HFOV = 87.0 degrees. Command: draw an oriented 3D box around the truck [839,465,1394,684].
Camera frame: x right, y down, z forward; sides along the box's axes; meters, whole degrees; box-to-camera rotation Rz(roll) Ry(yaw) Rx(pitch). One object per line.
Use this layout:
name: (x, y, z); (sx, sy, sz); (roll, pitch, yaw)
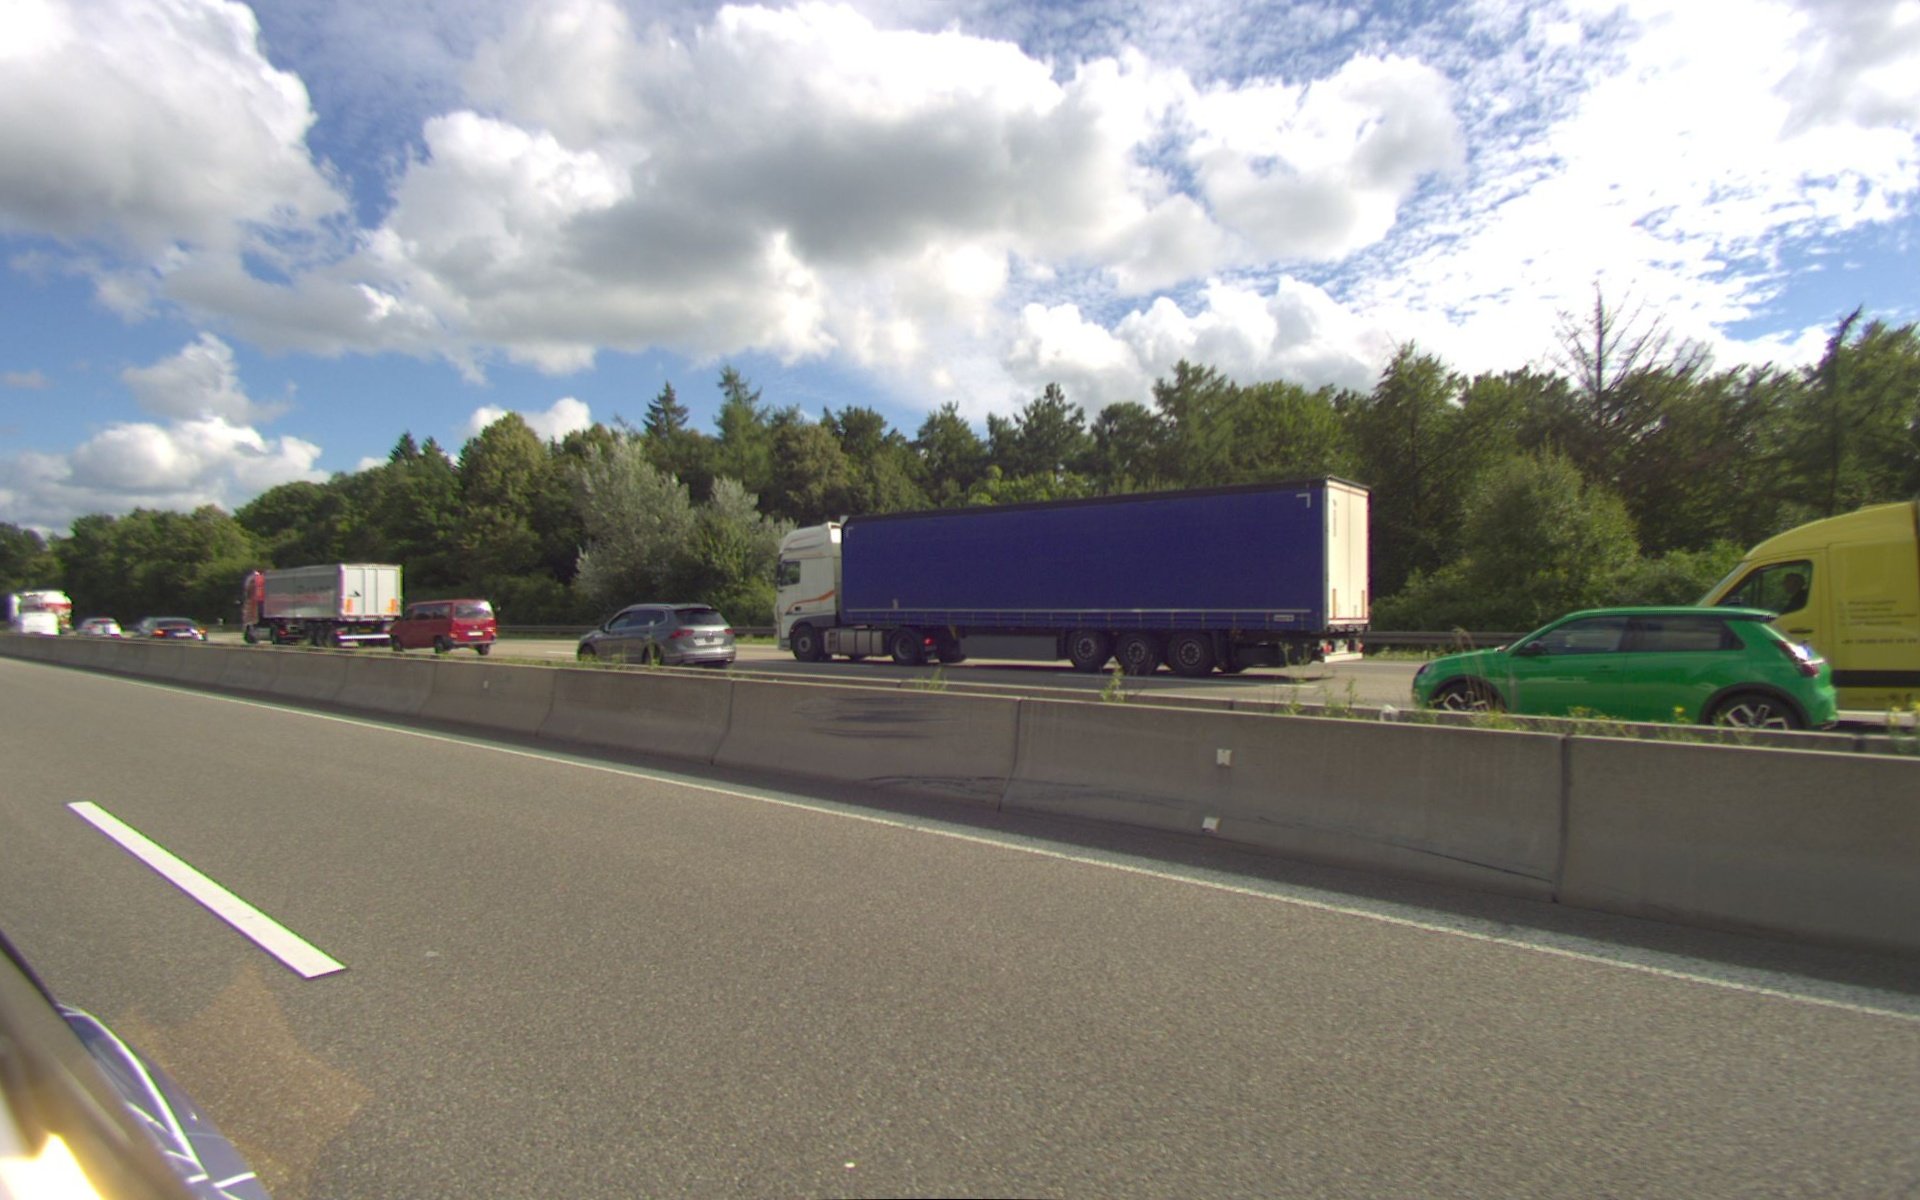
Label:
truck: (2.882, -0.365, 24.598); (13.831, 4.125, 2.791); (-1, -1, 40)

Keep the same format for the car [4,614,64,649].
car: (-51.962, 1.736, 56.757); (4.611, 1.892, 1.831); (-1, -1, 39)

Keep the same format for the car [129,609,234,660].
car: (-30.921, 1.338, 40.131); (5.356, 1.892, 2.150); (-1, -1, 39)

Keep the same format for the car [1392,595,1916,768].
car: (7.147, 0.762, 10.799); (4.329, 1.482, 1.765); (-1, -2, 42)

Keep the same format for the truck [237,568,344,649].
truck: (-34.450, 0.476, 51.994); (6.761, 3.887, 2.936); (-1, -1, 41)

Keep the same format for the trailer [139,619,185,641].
trailer: (-53.193, 2.012, 67.458); (4.175, 1.413, 1.519); (-1, -1, 39)

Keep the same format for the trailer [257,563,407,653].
trailer: (-30.189, 0.433, 48.325); (11.275, 3.887, 2.936); (-1, -1, 41)

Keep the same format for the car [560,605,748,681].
car: (-7.218, 0.980, 23.615); (4.909, 1.608, 1.825); (-1, -2, 40)

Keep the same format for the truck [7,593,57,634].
truck: (-91.316, 1.336, 99.539); (6.440, 3.975, 2.760); (-1, -1, 40)

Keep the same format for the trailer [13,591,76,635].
trailer: (-86.653, 1.290, 95.656); (12.242, 3.975, 2.760); (-1, -1, 40)

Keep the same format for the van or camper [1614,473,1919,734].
van or camper: (11.765, 0.030, 11.932); (6.504, 2.913, 2.348); (-1, -1, 42)

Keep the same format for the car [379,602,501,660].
car: (-18.838, 1.109, 36.586); (5.022, 1.955, 1.831); (-1, -2, 36)

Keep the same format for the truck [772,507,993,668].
truck: (-2.317, -0.272, 28.885); (6.055, 4.125, 2.791); (-1, -1, 39)

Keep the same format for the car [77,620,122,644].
car: (-54.003, 1.996, 63.485); (3.997, 1.413, 1.586); (-1, -1, 41)
